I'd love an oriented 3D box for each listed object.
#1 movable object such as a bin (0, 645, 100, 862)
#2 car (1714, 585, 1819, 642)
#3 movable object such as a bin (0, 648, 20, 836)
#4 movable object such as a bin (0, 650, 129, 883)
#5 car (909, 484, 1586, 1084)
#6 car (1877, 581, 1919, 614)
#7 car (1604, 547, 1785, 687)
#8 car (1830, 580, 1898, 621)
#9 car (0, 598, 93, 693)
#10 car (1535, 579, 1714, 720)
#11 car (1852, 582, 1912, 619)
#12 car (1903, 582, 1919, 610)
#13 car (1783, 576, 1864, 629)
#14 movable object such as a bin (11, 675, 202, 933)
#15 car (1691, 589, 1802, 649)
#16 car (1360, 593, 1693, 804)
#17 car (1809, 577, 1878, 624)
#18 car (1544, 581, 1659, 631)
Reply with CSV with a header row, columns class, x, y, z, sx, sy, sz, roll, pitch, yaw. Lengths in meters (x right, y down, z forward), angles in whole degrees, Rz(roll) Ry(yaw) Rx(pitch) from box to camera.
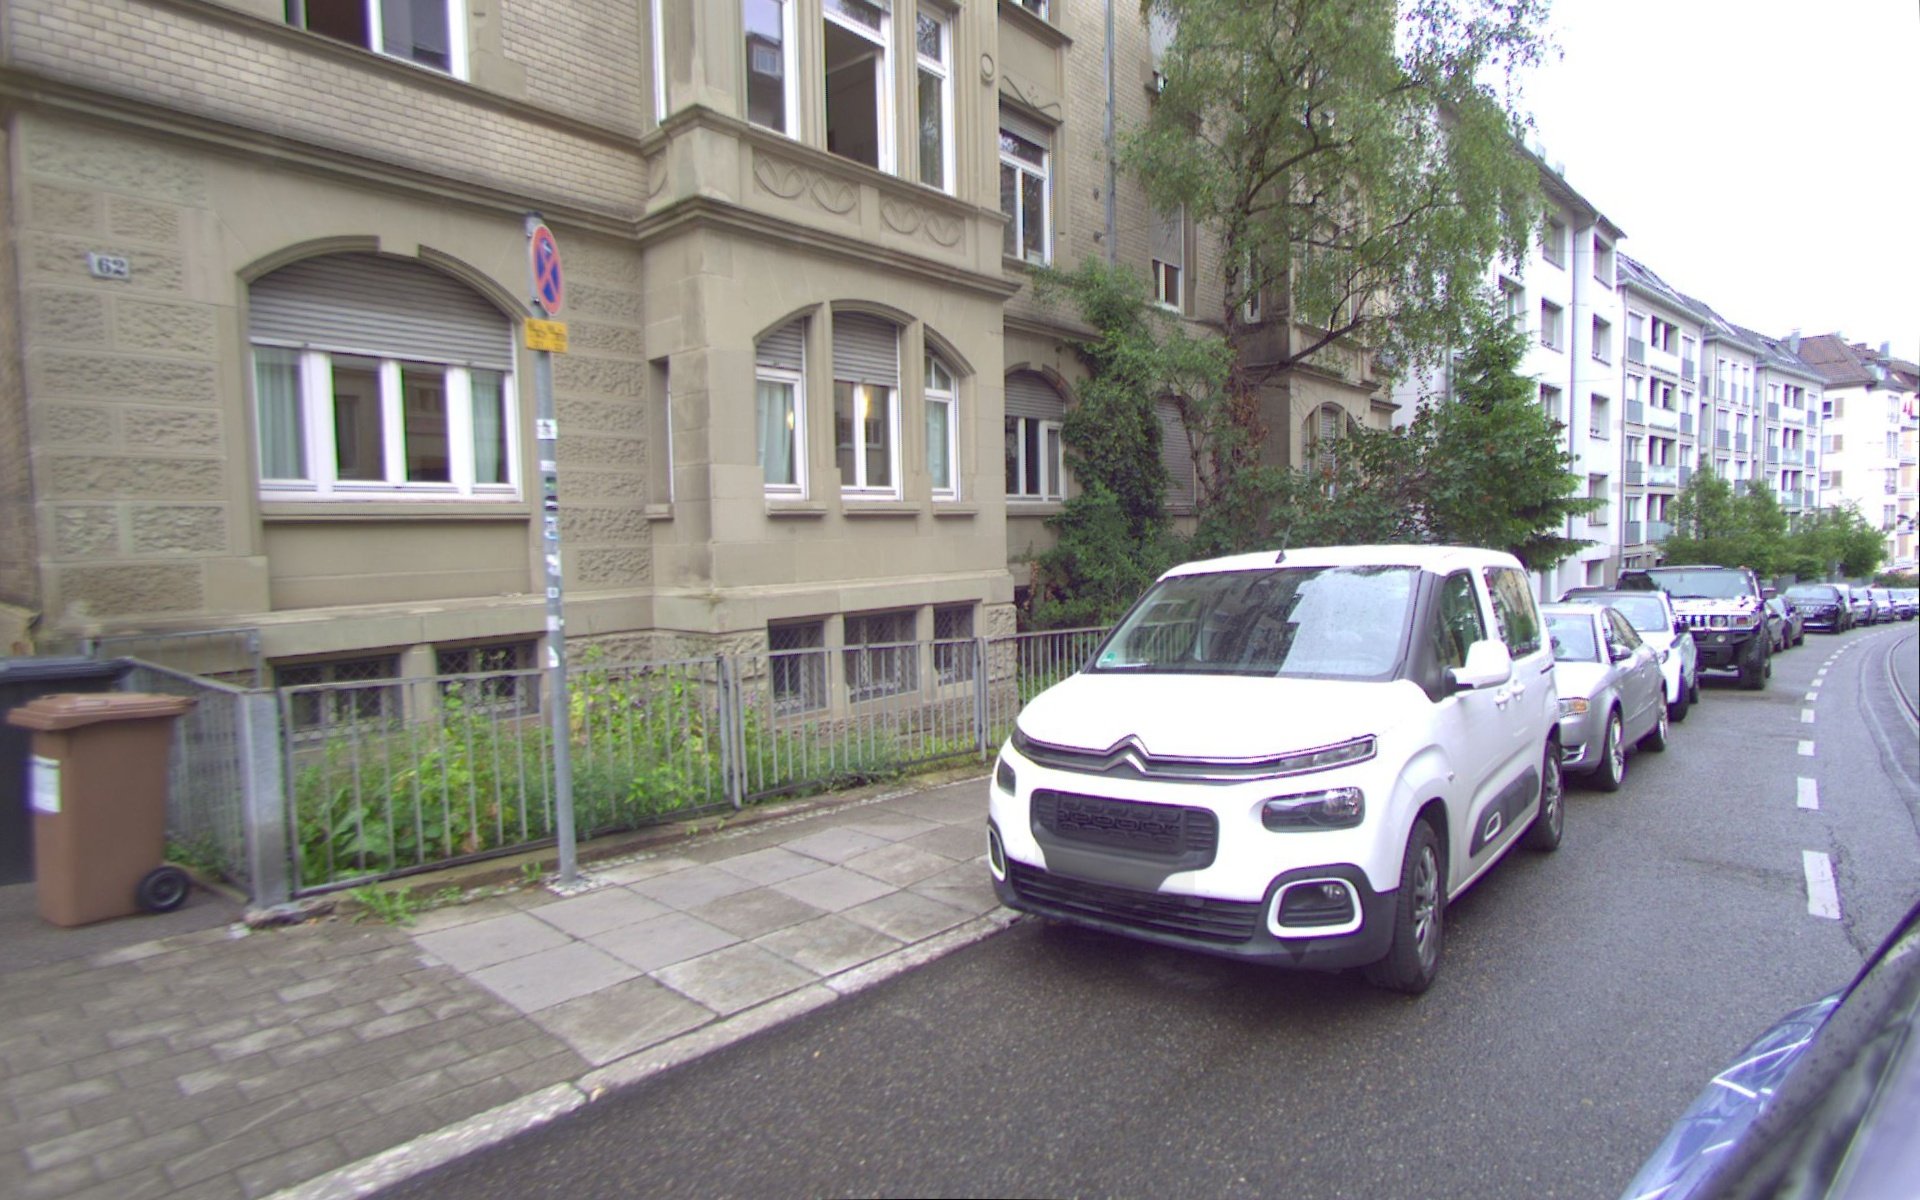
class,x,y,z,sx,sy,sz,roll,pitch,yaw
movable object such as a bin,-4.997,0.794,5.359,0.498,1.075,0.600,-3,-1,41
car,22.668,0.316,28.374,4.536,1.455,1.795,-1,1,-45
movable object such as a bin,-5.847,0.833,5.852,0.495,1.075,0.547,-3,-1,41
movable object such as a bin,-4.519,0.786,4.955,0.653,1.043,0.528,-1,-1,-43
car,1.878,0.528,5.303,1.795,1.787,4.399,-1,0,40
car,48.825,-0.153,52.348,1.975,1.604,4.495,1,2,43
car,12.807,0.224,17.484,2.126,2.039,5.272,-1,0,40
car,40.413,-0.012,45.216,4.608,1.676,1.834,-1,2,-43
car,-18.131,0.727,17.983,3.933,1.529,1.796,7,-1,-45
car,8.683,0.533,13.107,1.557,1.565,3.533,-1,0,39
car,44.442,-0.029,48.744,4.587,1.648,1.834,-1,2,-44
car,56.017,-0.236,58.305,4.704,1.534,1.862,-1,2,-40
car,32.020,0.050,37.476,1.943,1.817,4.744,1,1,45
movable object such as a bin,-3.593,0.818,4.270,0.425,0.931,0.530,3,2,38
car,19.429,0.407,24.959,3.819,1.355,1.679,-1,1,-44
car,5.335,0.677,9.217,1.747,1.418,4.411,-1,0,41
car,36.120,-0.023,41.348,4.398,1.817,1.780,-1,2,-44
car,19.858,0.154,31.258,4.079,1.444,1.816,-1,0,-39
